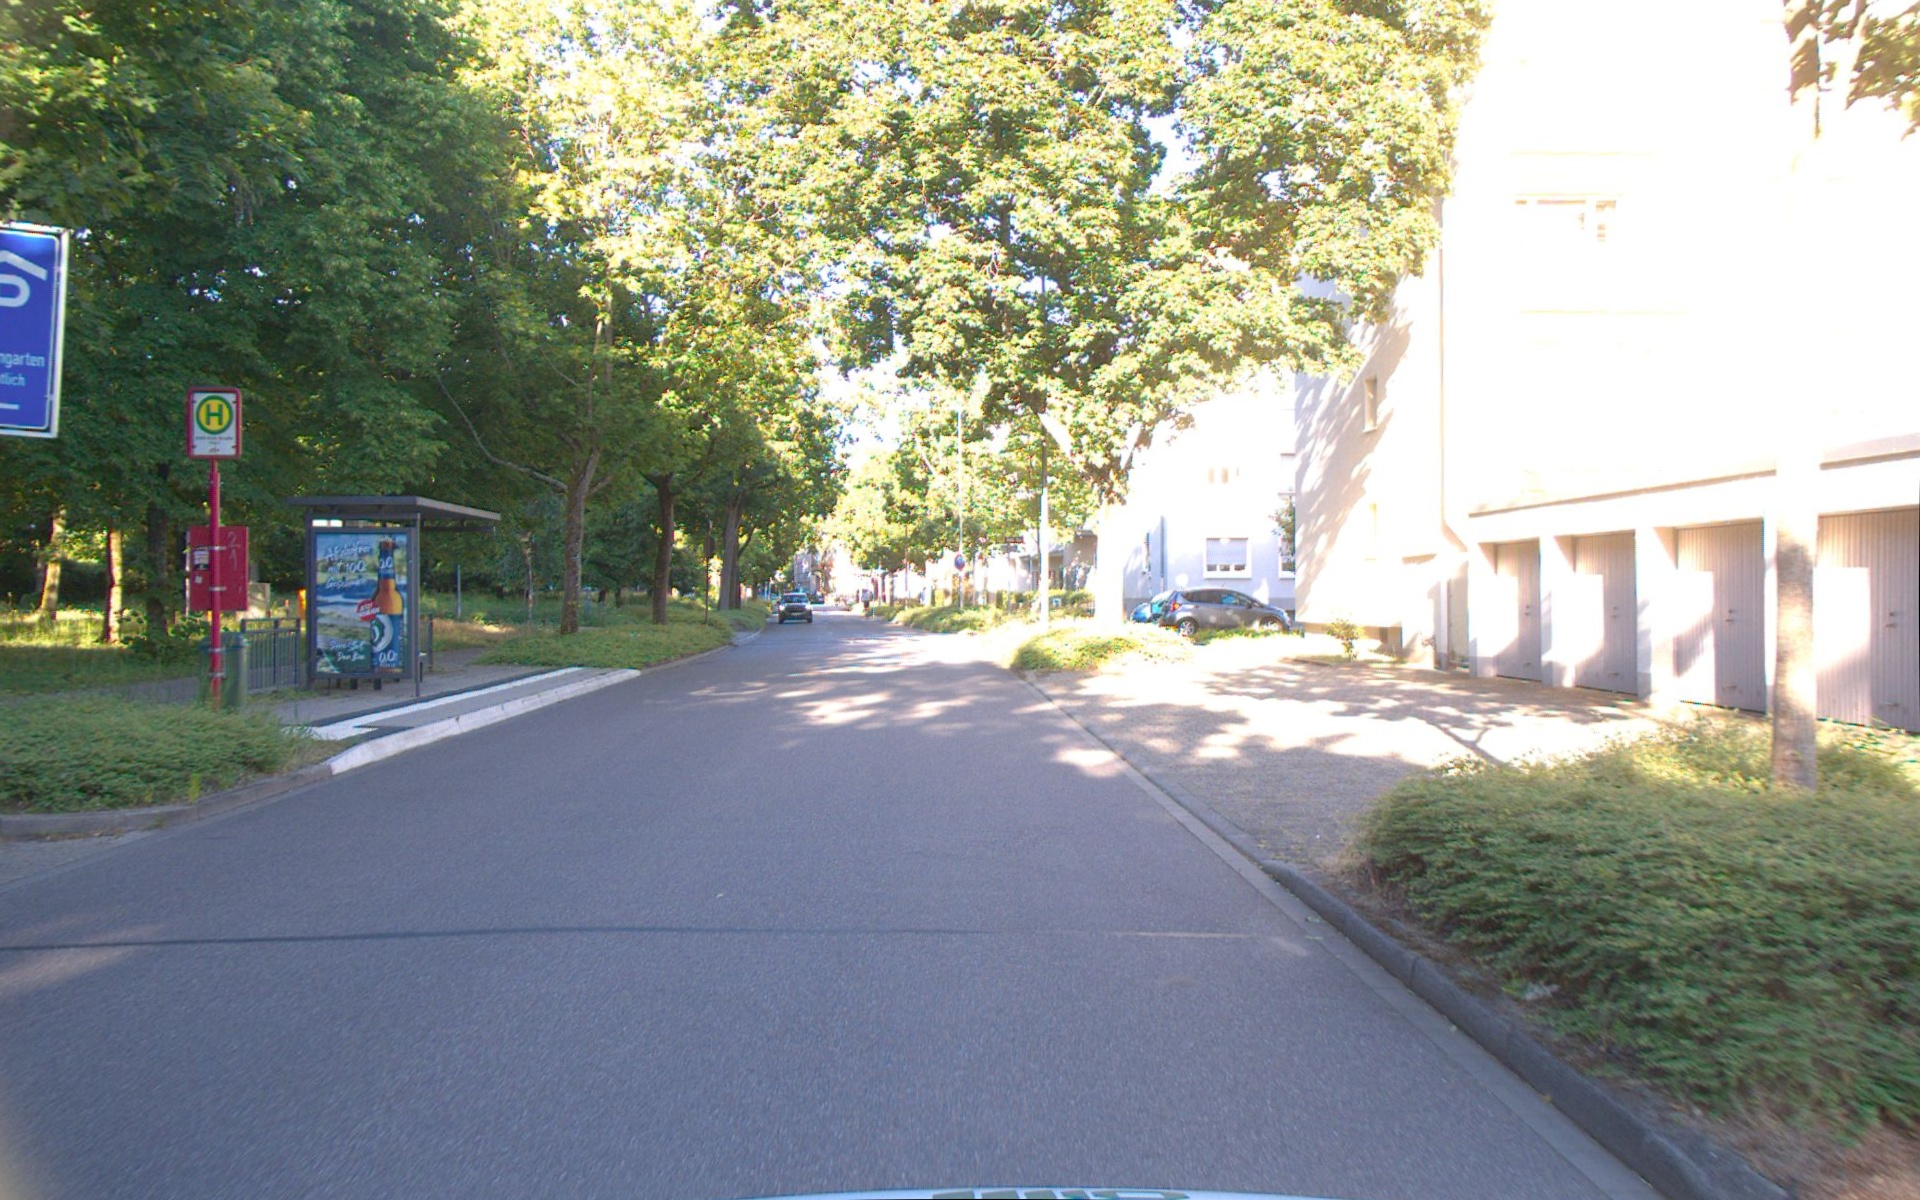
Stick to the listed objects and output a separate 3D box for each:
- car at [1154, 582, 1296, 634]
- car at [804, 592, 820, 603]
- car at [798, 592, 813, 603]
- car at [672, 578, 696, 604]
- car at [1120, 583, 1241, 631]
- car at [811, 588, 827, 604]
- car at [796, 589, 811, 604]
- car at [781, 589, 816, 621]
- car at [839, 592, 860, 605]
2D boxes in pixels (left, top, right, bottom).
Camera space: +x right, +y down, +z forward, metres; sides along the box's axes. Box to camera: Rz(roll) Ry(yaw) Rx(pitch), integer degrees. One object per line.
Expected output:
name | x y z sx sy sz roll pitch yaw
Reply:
car | 8.048 0.263 50.392 3.962 1.541 1.725 1 -1 -6
car | -20.320 -0.333 226.878 1.778 1.527 3.991 1 0 -10
car | -21.836 -0.343 233.276 1.778 1.527 3.991 1 0 -10
car | -27.648 -0.927 165.459 1.960 2.552 3.984 1 0 -15
car | 7.740 0.236 58.173 3.911 1.609 1.807 0 1 -7
car | -18.655 -0.522 218.888 1.778 1.959 3.991 1 0 -10
car | -23.020 -0.512 243.404 1.778 2.086 3.991 1 0 -10
car | -8.681 0.235 89.039 1.808 1.606 4.331 -2 1 -5
car | -12.770 -0.181 190.731 1.780 1.527 3.986 -1 0 -13
